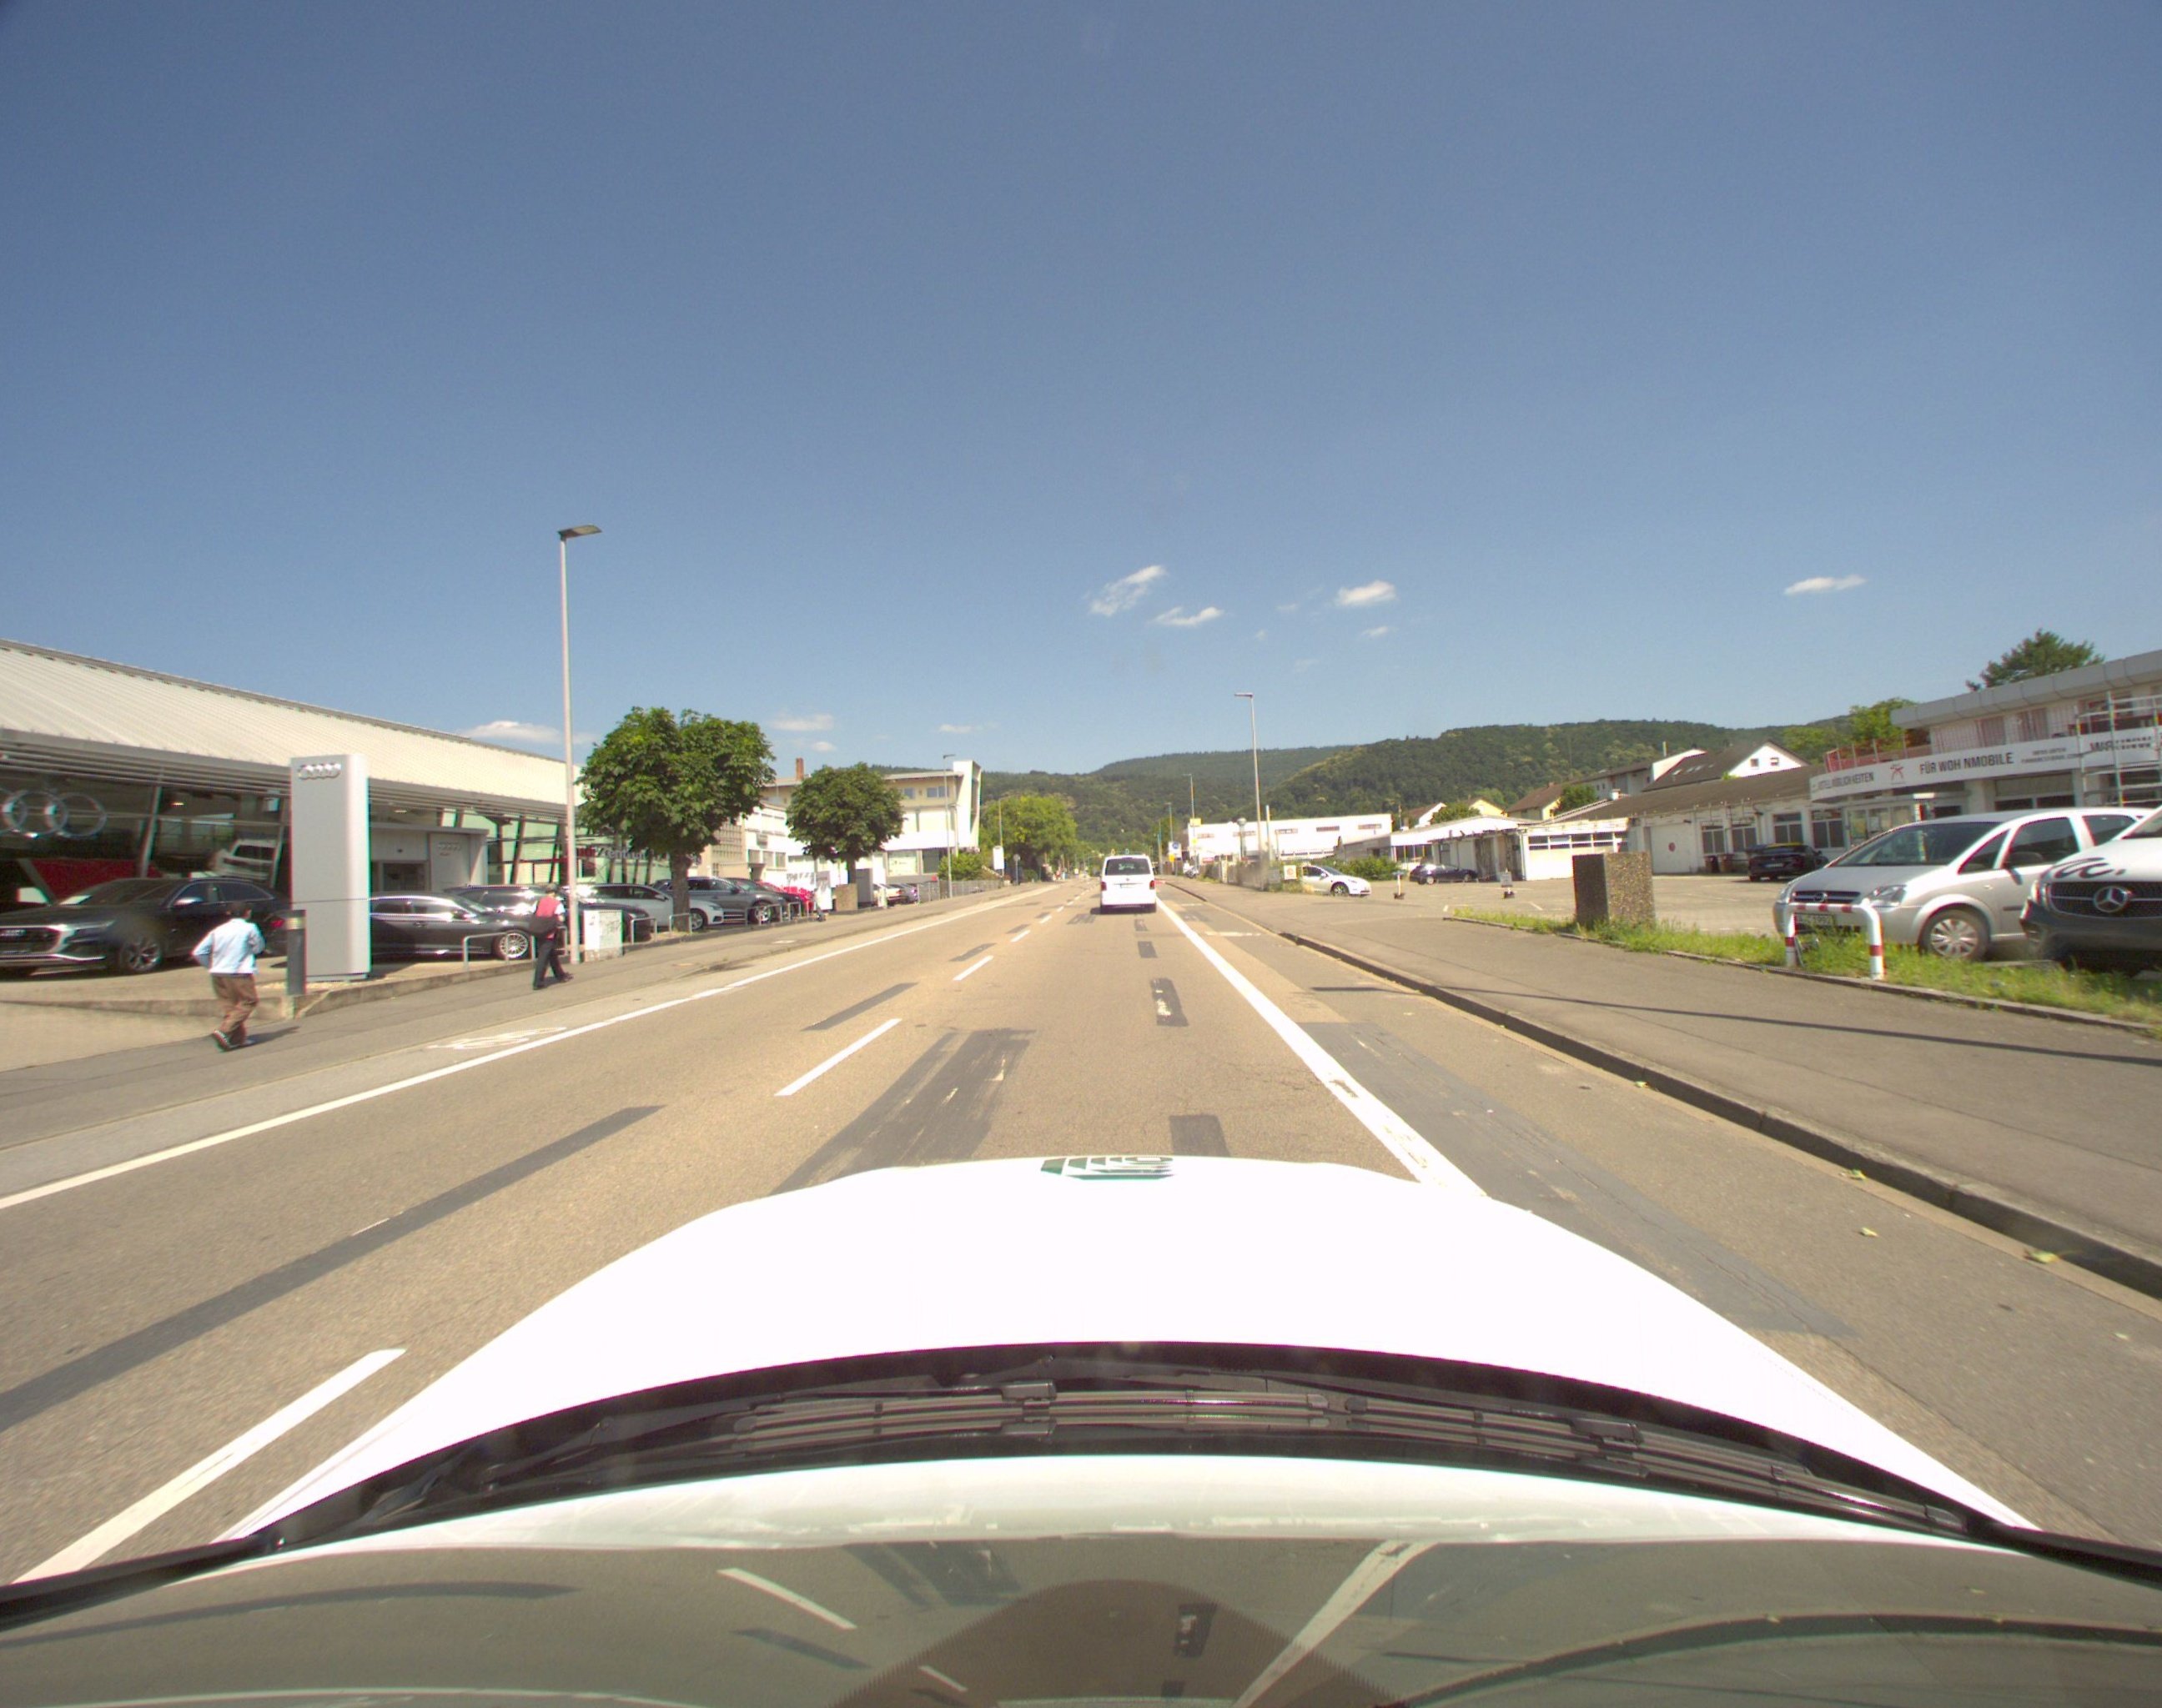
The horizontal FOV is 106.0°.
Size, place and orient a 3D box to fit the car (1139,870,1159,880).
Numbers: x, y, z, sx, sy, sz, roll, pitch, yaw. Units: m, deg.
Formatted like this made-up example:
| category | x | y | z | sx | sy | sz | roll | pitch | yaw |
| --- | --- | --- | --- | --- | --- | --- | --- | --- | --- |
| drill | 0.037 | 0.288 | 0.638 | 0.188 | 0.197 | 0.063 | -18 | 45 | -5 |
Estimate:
| category | x | y | z | sx | sy | sz | roll | pitch | yaw |
| --- | --- | --- | --- | --- | --- | --- | --- | --- | --- |
| car | 13.957 | 4.347 | 167.393 | 3.964 | 1.776 | 2.005 | -4 | -2 | 9 |

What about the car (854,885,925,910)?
| category | x | y | z | sx | sy | sz | roll | pitch | yaw |
| --- | --- | --- | --- | --- | --- | --- | --- | --- | --- |
| car | -11.692 | 2.689 | 49.826 | 3.880 | 1.445 | 1.821 | 1 | -4 | -3 |

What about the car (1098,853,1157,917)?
| category | x | y | z | sx | sy | sz | roll | pitch | yaw |
| --- | --- | --- | --- | --- | --- | --- | --- | --- | --- |
| car | 1.582 | 1.084 | 28.888 | 1.927 | 2.060 | 4.545 | 0 | -2 | 1 |

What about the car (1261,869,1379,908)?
| category | x | y | z | sx | sy | sz | roll | pitch | yaw |
| --- | --- | --- | --- | --- | --- | --- | --- | --- | --- |
| car | 11.138 | 1.687 | 38.223 | 2.035 | 1.622 | 4.984 | 6 | -7 | -44 |

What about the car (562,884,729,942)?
| category | x | y | z | sx | sy | sz | roll | pitch | yaw |
| --- | --- | --- | --- | --- | --- | --- | --- | --- | --- |
| car | -12.838 | 1.691 | 24.073 | 4.218 | 1.495 | 1.855 | 0 | -3 | -33 |

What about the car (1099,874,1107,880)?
| category | x | y | z | sx | sy | sz | roll | pitch | yaw |
| --- | --- | --- | --- | --- | --- | --- | --- | --- | --- |
| car | 5.808 | 6.102 | 213.668 | 1.985 | 1.370 | 4.329 | -4 | -2 | 3 |

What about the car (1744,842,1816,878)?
| category | x | y | z | sx | sy | sz | roll | pitch | yaw |
| --- | --- | --- | --- | --- | --- | --- | --- | --- | --- |
| car | 27.602 | 0.289 | 32.110 | 1.871 | 1.290 | 4.581 | -3 | -3 | 44 |

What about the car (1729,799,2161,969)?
| category | x | y | z | sx | sy | sz | roll | pitch | yaw |
| --- | --- | --- | --- | --- | --- | --- | --- | --- | --- |
| car | 10.132 | 0.313 | 9.299 | 3.906 | 1.593 | 1.799 | -3 | -2 | 2 |

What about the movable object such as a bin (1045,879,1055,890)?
| category | x | y | z | sx | sy | sz | roll | pitch | yaw |
| --- | --- | --- | --- | --- | --- | --- | --- | --- | --- |
| movable object such as a bin | -4.834 | 4.748 | 127.093 | 1.446 | 1.590 | 1.304 | -3 | -2 | -6 |

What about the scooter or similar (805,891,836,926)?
| category | x | y | z | sx | sy | sz | roll | pitch | yaw |
| --- | --- | --- | --- | --- | --- | --- | --- | --- | --- |
| scooter or similar | -9.640 | 2.002 | 30.198 | 0.742 | 1.247 | 1.488 | -2 | -2 | -5 |

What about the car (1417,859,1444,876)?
| category | x | y | z | sx | sy | sz | roll | pitch | yaw |
| --- | --- | --- | --- | --- | --- | --- | --- | --- | --- |
| car | 37.141 | 1.450 | 86.444 | 1.974 | 1.647 | 4.025 | -2 | -1 | 32 |

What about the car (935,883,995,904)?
| category | x | y | z | sx | sy | sz | roll | pitch | yaw |
| --- | --- | --- | --- | --- | --- | --- | --- | --- | --- |
| car | -9.919 | 3.406 | 69.931 | 4.722 | 1.481 | 2.048 | -3 | -2 | 1 |

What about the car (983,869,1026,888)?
| category | x | y | z | sx | sy | sz | roll | pitch | yaw |
| --- | --- | --- | --- | --- | --- | --- | --- | --- | --- |
| car | -8.350 | 2.704 | 89.516 | 4.555 | 1.866 | 2.090 | -2 | -2 | -3 |

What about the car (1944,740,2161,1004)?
| category | x | y | z | sx | sy | sz | roll | pitch | yaw |
| --- | --- | --- | --- | --- | --- | --- | --- | --- | --- |
| car | 10.603 | -0.029 | 6.430 | 5.213 | 1.952 | 2.001 | -4 | -2 | 2 |

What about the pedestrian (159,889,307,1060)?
| category | x | y | z | sx | sy | sz | roll | pitch | yaw |
| --- | --- | --- | --- | --- | --- | --- | --- | --- | --- |
| pedestrian | -9.889 | 1.365 | 9.531 | 0.719 | 1.848 | 0.912 | -3 | -2 | 5 |

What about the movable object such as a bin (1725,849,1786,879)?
| category | x | y | z | sx | sy | sz | roll | pitch | yaw |
| --- | --- | --- | --- | --- | --- | --- | --- | --- | --- |
| movable object such as a bin | 34.256 | 0.522 | 41.412 | 1.566 | 1.456 | 1.754 | -2 | -2 | -2 |

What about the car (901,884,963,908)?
| category | x | y | z | sx | sy | sz | roll | pitch | yaw |
| --- | --- | --- | --- | --- | --- | --- | --- | --- | --- |
| car | -11.308 | 3.198 | 61.939 | 4.284 | 1.559 | 1.994 | -3 | -2 | -1 |

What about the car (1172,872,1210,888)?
| category | x | y | z | sx | sy | sz | roll | pitch | yaw |
| --- | --- | --- | --- | --- | --- | --- | --- | --- | --- |
| car | 10.967 | 2.564 | 81.433 | 3.648 | 1.484 | 1.730 | -2 | -2 | 4 |

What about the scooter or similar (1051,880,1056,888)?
| category | x | y | z | sx | sy | sz | roll | pitch | yaw |
| --- | --- | --- | --- | --- | --- | --- | --- | --- | --- |
| scooter or similar | -4.115 | 4.476 | 121.383 | 0.645 | 1.128 | 1.621 | 0 | -2 | -3 |

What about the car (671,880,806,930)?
| category | x | y | z | sx | sy | sz | roll | pitch | yaw |
| --- | --- | --- | --- | --- | --- | --- | --- | --- | --- |
| car | -13.028 | 1.888 | 31.017 | 4.497 | 1.708 | 1.891 | 0 | -3 | -33 |

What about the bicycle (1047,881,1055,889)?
| category | x | y | z | sx | sy | sz | roll | pitch | yaw |
| --- | --- | --- | --- | --- | --- | --- | --- | --- | --- |
| bicycle | -4.389 | 4.448 | 117.948 | 1.023 | 1.118 | 2.765 | 0 | -2 | 0 |

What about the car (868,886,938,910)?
| category | x | y | z | sx | sy | sz | roll | pitch | yaw |
| --- | --- | --- | --- | --- | --- | --- | --- | --- | --- |
| car | -11.342 | 2.816 | 51.969 | 3.973 | 1.444 | 1.858 | 1 | -4 | 0 |

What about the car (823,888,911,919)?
| category | x | y | z | sx | sy | sz | roll | pitch | yaw |
| --- | --- | --- | --- | --- | --- | --- | --- | --- | --- |
| car | -12.353 | 2.844 | 47.206 | 4.508 | 1.457 | 1.900 | -3 | -2 | 0 |

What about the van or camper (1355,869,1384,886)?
| category | x | y | z | sx | sy | sz | roll | pitch | yaw |
| --- | --- | --- | --- | --- | --- | --- | --- | --- | --- |
| van or camper | 30.832 | 2.467 | 86.991 | 1.974 | 1.543 | 4.254 | -9 | -6 | 29 |

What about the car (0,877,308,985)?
| category | x | y | z | sx | sy | sz | roll | pitch | yaw |
| --- | --- | --- | --- | --- | --- | --- | --- | --- | --- |
| car | -17.511 | 1.322 | 15.360 | 1.995 | 1.720 | 4.711 | 1 | -3 | -12 |

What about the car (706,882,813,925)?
| category | x | y | z | sx | sy | sz | roll | pitch | yaw |
| --- | --- | --- | --- | --- | --- | --- | --- | --- | --- |
| car | -13.617 | 2.063 | 34.484 | 4.010 | 1.550 | 1.842 | -1 | -2 | -28 |

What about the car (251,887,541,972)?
| category | x | y | z | sx | sy | sz | roll | pitch | yaw |
| --- | --- | --- | --- | --- | --- | --- | --- | --- | --- |
| car | -13.456 | 1.482 | 16.419 | 4.175 | 1.459 | 1.888 | 4 | -3 | -33 |

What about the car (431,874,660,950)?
| category | x | y | z | sx | sy | sz | roll | pitch | yaw |
| --- | --- | --- | --- | --- | --- | --- | --- | --- | --- |
| car | -13.080 | 1.392 | 20.190 | 4.498 | 1.609 | 1.945 | 2 | 0 | -33 |

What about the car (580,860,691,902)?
| category | x | y | z | sx | sy | sz | roll | pitch | yaw |
| --- | --- | --- | --- | --- | --- | --- | --- | --- | --- |
| car | -19.353 | 1.162 | 35.573 | 1.978 | 1.684 | 4.016 | -3 | -2 | 16 |

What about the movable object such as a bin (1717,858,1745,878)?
| category | x | y | z | sx | sy | sz | roll | pitch | yaw |
| --- | --- | --- | --- | --- | --- | --- | --- | --- | --- |
| movable object such as a bin | 34.907 | 0.737 | 43.758 | 0.743 | 1.036 | 0.875 | -2 | -2 | -2 |

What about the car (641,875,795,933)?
| category | x | y | z | sx | sy | sz | roll | pitch | yaw |
| --- | --- | --- | --- | --- | --- | --- | --- | --- | --- |
| car | -12.449 | 1.672 | 28.017 | 4.597 | 1.697 | 1.840 | -1 | -2 | -33 |

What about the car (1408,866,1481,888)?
| category | x | y | z | sx | sy | sz | roll | pitch | yaw |
| --- | --- | --- | --- | --- | --- | --- | --- | --- | --- |
| car | 25.995 | 1.658 | 58.427 | 4.307 | 1.398 | 2.123 | -3 | -2 | 6 |

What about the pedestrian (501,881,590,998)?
| category | x | y | z | sx | sy | sz | roll | pitch | yaw |
| --- | --- | --- | --- | --- | --- | --- | --- | --- | --- |
| pedestrian | -9.156 | 1.427 | 13.959 | 0.729 | 1.868 | 1.048 | -3 | -2 | 3 |
